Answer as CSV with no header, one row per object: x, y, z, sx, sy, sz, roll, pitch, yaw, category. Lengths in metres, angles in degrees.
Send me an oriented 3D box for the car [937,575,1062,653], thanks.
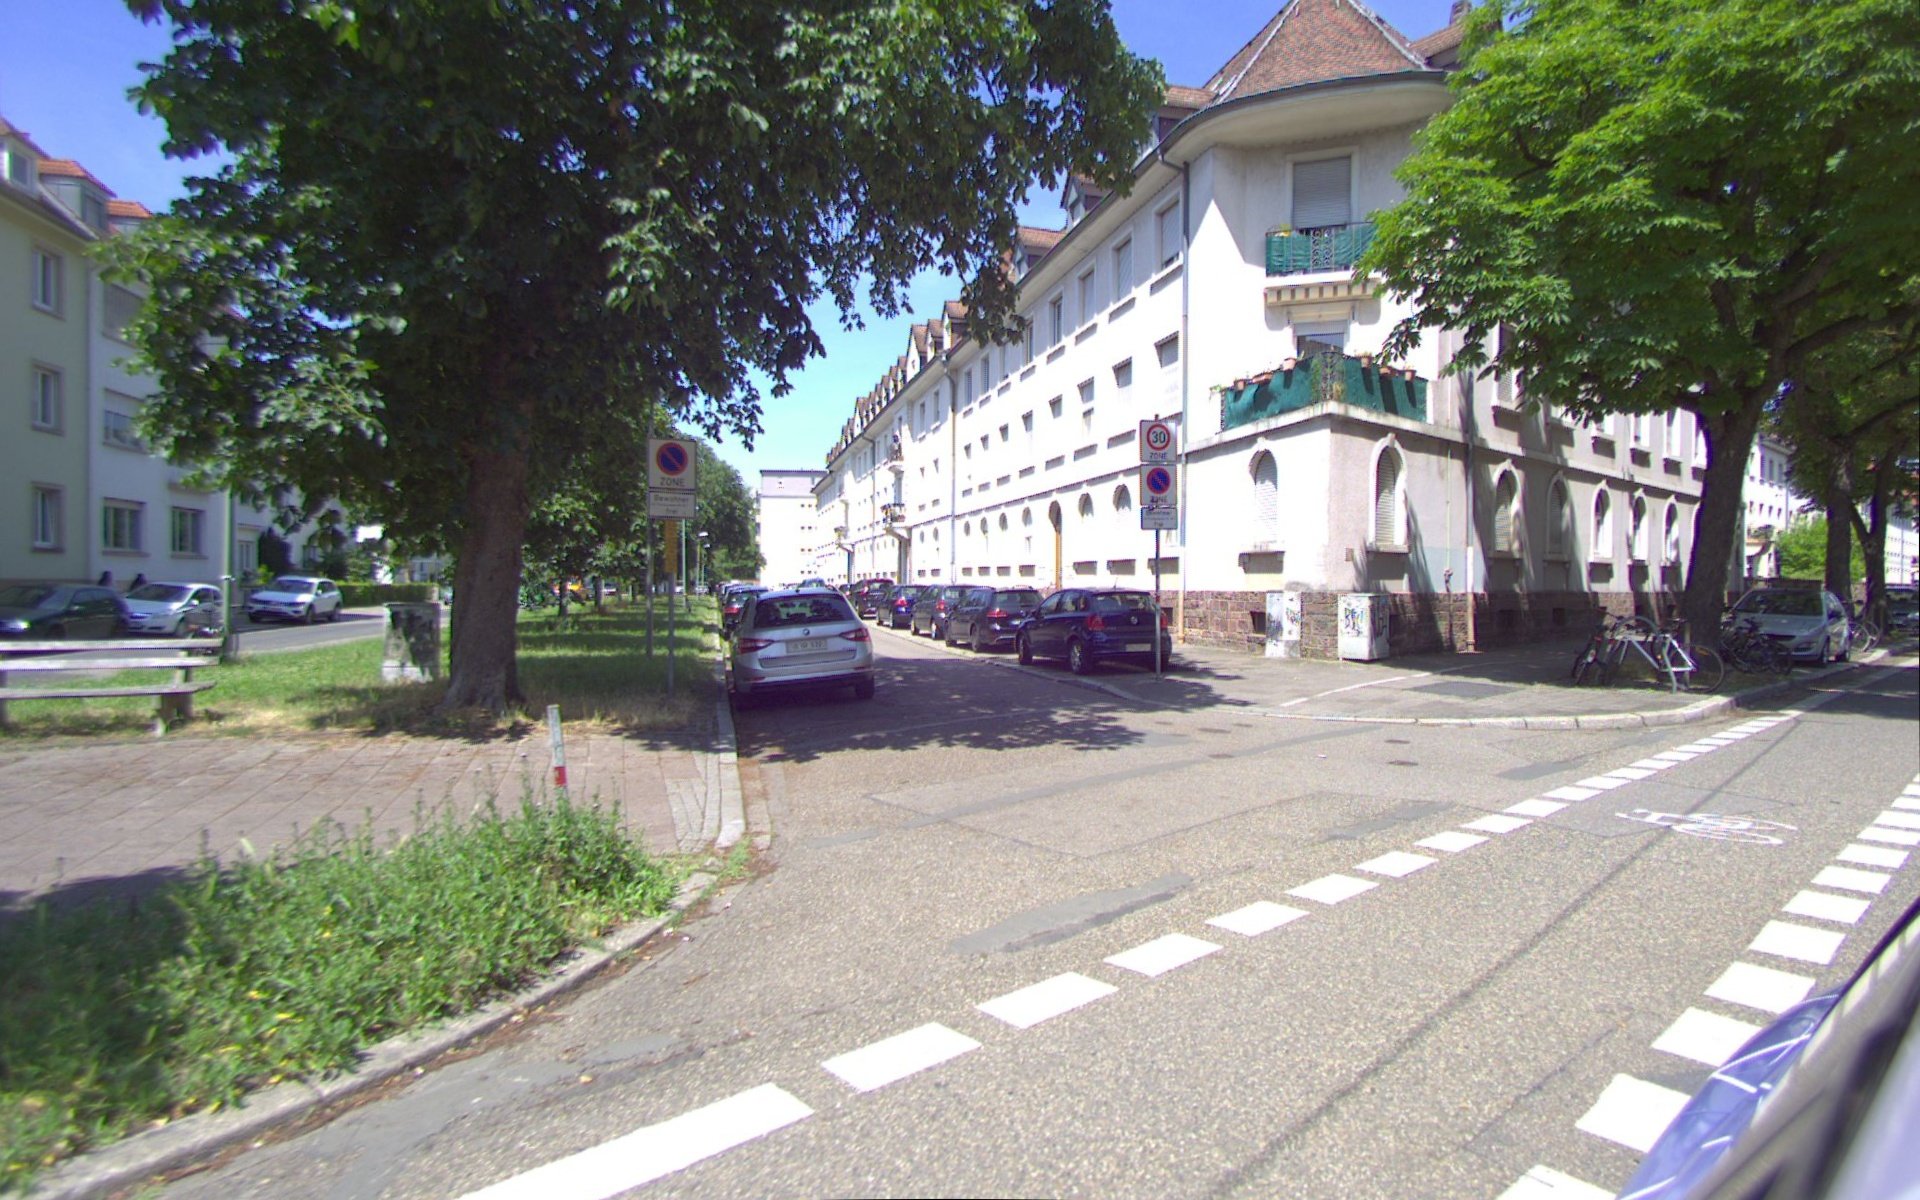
0.802,0.255,23.284,1.783,1.521,4.008,-4,2,-14,car

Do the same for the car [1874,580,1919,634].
29.972,0.181,31.714,3.931,1.563,1.538,-2,1,-41,car

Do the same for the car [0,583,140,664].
-20.380,0.467,22.585,1.552,1.622,4.008,-2,1,-12,car

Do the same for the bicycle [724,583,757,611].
-11.648,-0.180,53.883,1.542,1.410,3.751,-1,1,-10,bicycle

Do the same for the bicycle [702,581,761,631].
-8.302,0.166,36.499,1.800,1.666,4.009,-2,1,-16,bicycle

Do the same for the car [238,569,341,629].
-23.939,-0.081,36.332,1.604,2.039,4.339,0,1,-12,car

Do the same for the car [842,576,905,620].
-3.630,-0.127,41.790,1.796,1.678,4.009,-2,1,-17,car

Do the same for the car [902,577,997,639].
-0.373,0.178,28.986,1.830,1.599,4.008,-2,1,-14,car

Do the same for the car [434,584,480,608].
-30.456,-0.280,61.390,1.750,1.416,3.906,-1,1,-16,car

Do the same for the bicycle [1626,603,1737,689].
9.574,0.589,13.460,0.274,1.076,1.170,-2,2,-37,bicycle

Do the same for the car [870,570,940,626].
-1.934,-0.104,34.444,1.618,1.751,4.008,-2,1,-14,car

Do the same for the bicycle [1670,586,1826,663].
13.213,0.383,17.045,0.436,1.215,2.042,-2,1,-30,bicycle

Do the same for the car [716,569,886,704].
-2.379,0.427,14.063,1.837,1.534,4.685,-1,0,-15,car

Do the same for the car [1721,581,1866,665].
16.373,0.373,19.831,3.568,1.470,1.595,-1,2,-41,car

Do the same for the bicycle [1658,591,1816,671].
12.808,0.475,16.757,0.436,1.215,2.042,-2,1,-30,bicycle

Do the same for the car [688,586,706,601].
-28.836,-0.719,110.960,1.556,1.503,3.539,-2,1,-9,car

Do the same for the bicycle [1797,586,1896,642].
19.877,0.296,22.720,0.299,1.215,1.622,-2,1,-39,bicycle

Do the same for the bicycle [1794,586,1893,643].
19.620,0.308,22.508,0.299,1.215,1.622,-2,1,-39,bicycle

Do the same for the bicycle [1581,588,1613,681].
9.046,0.461,14.390,0.281,1.215,1.612,-1,1,29,bicycle

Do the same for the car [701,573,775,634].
-6.577,0.053,29.735,1.958,1.601,4.009,-2,1,-14,car

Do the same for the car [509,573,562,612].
-23.645,-0.467,56.480,1.958,2.038,4.008,-2,1,-12,car

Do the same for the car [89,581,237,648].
-21.803,0.332,27.870,1.552,1.641,4.008,-2,1,-12,car

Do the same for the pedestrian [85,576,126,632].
-25.063,0.111,29.690,0.655,1.637,0.802,0,0,-18,pedestrian

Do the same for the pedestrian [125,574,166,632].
-24.264,0.086,30.152,0.655,1.685,0.802,-2,1,-18,pedestrian

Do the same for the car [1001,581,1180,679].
2.181,0.429,18.013,1.611,1.465,3.892,-2,2,-18,car

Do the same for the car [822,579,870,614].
-5.476,-0.205,48.402,1.552,1.578,4.009,-2,1,-17,car

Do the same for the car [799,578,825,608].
-9.999,-0.503,68.381,1.552,1.900,4.007,-2,1,-10,car
